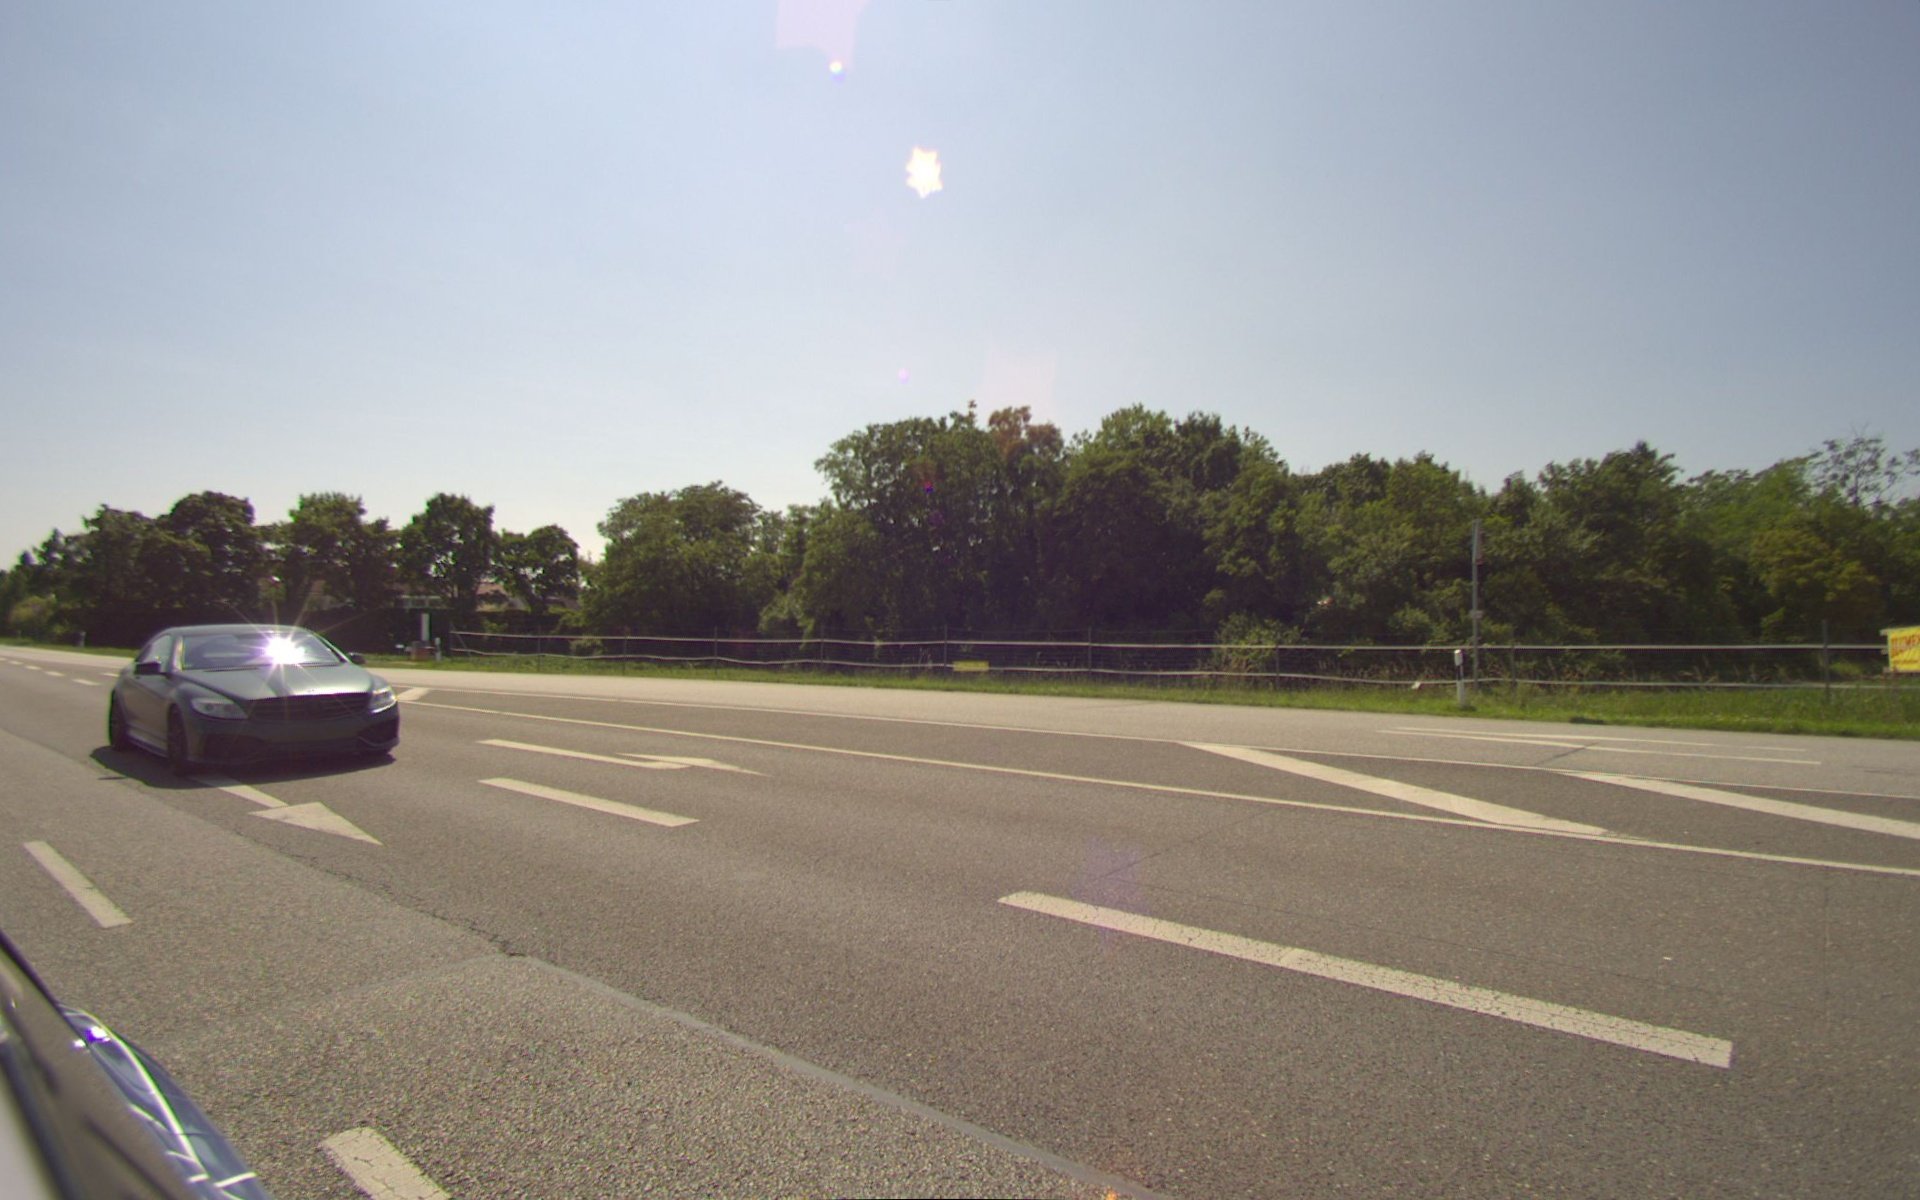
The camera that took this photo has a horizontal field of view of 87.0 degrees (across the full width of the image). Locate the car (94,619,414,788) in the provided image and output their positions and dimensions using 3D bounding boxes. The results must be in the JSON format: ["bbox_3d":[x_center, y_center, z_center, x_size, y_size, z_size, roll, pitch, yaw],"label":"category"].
[{"bbox_3d":[-7.931,0.978,11.160,4.874,1.461,1.792,-2,-2,41],"label":"car"}]
